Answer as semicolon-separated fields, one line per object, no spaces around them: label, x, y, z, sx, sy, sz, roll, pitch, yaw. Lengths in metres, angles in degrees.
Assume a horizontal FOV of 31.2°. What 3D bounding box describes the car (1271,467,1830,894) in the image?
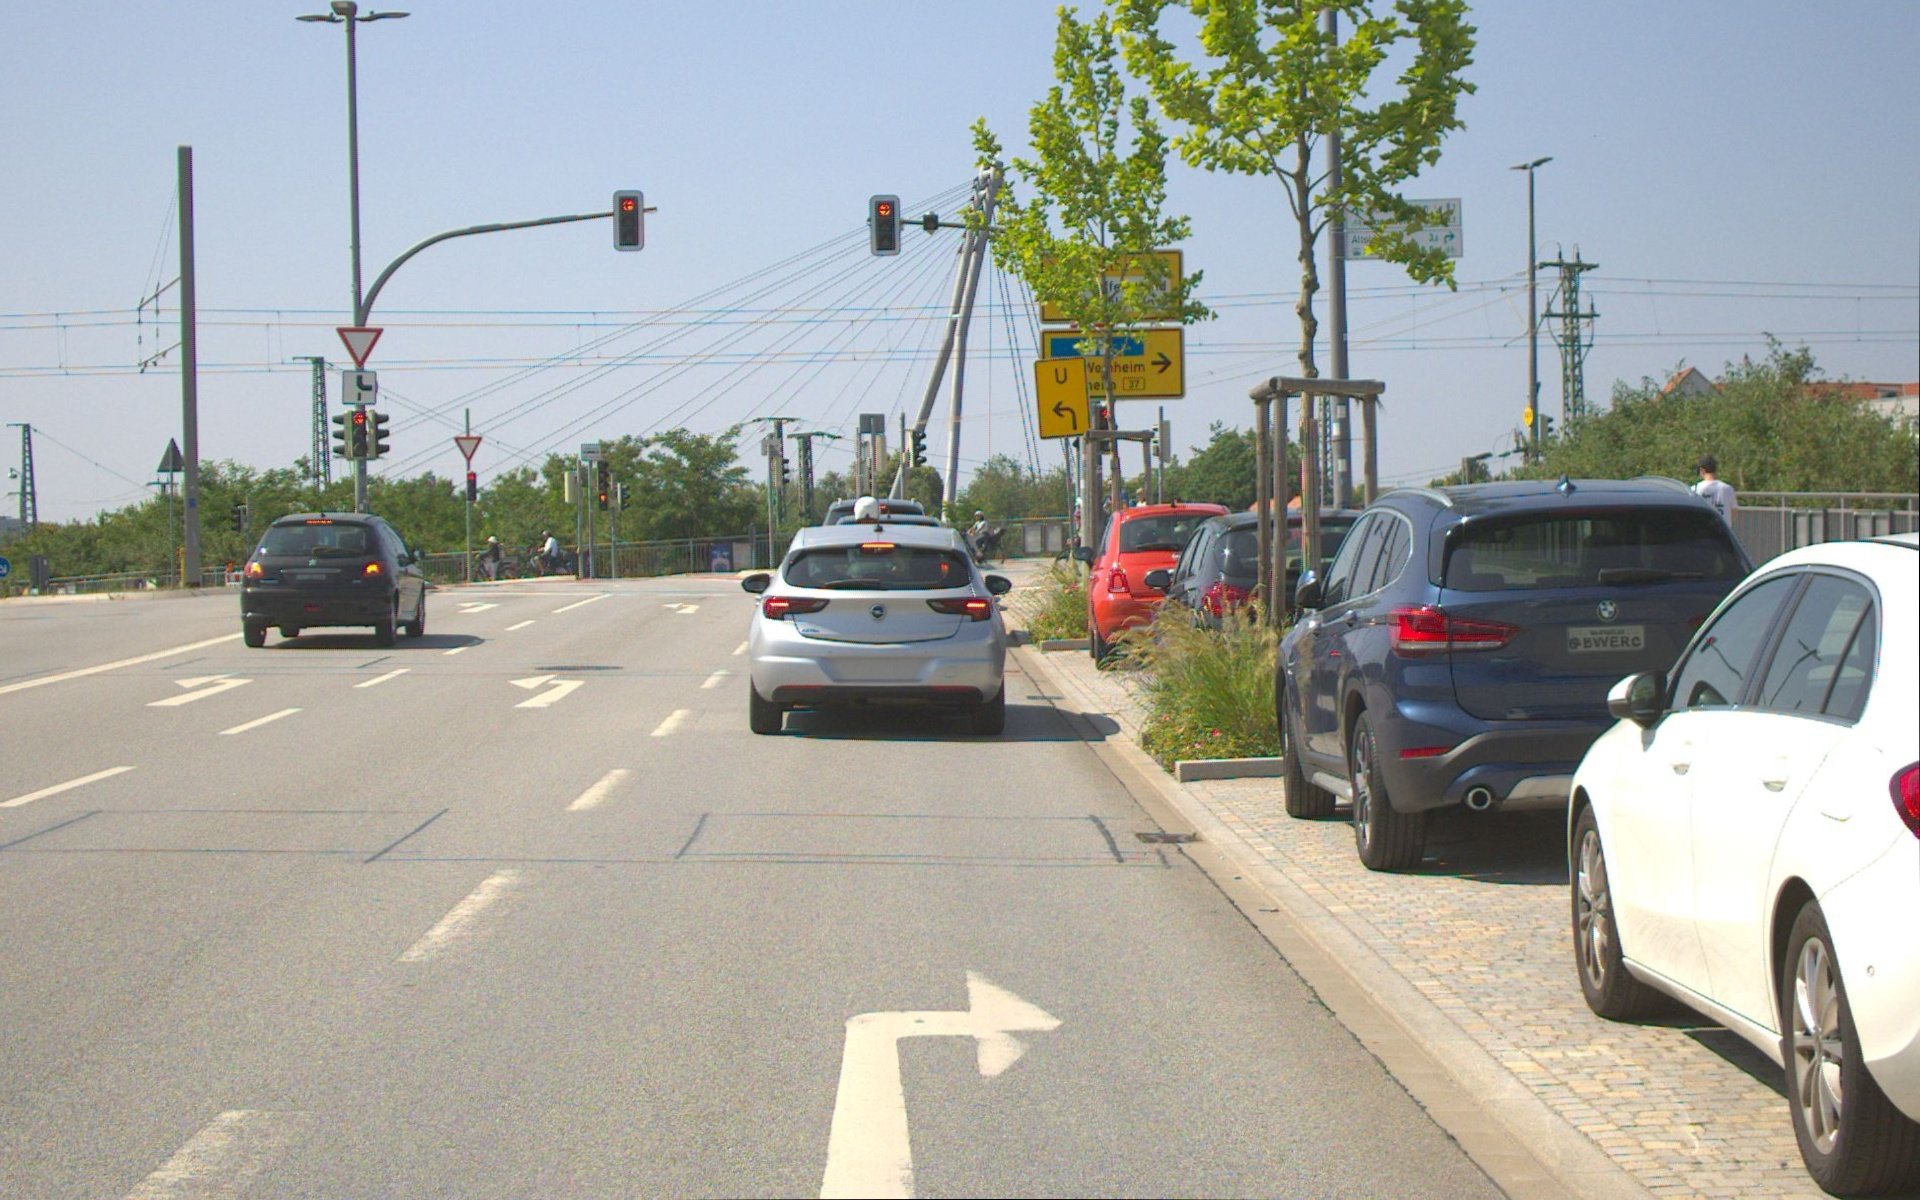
car;2.485;0.272;15.321;1.822;1.611;3.611;-2;1;0

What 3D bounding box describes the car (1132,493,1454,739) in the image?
car;2.323;0.075;24.937;1.778;1.498;4.000;-5;1;-1

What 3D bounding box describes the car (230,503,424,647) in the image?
car;-6.967;-0.319;38.131;1.619;1.411;3.728;-2;3;-3

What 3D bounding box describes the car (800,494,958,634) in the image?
car;-0.953;-0.470;41.073;1.778;1.563;4.001;-1;2;-1

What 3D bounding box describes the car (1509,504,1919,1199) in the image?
car;2.630;0.484;8.814;1.696;1.470;4.205;-2;1;0

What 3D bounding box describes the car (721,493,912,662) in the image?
car;-1.380;-0.271;34.286;1.778;1.563;4.001;-1;2;-1

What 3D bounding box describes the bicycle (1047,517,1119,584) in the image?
bicycle;2.245;-0.902;62.657;1.239;1.193;0.482;1;-1;-7

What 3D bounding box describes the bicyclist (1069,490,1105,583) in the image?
bicyclist;2.263;-1.131;61.291;0.592;1.638;0.313;1;-1;-6

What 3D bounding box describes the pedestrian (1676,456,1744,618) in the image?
pedestrian;7.350;-0.610;33.702;0.533;1.570;0.524;1;-1;-1

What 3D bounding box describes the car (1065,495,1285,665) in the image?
car;2.022;-0.213;33.274;1.778;1.498;4.000;-2;1;-1

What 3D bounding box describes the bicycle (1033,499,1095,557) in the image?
bicycle;2.209;-1.518;72.771;1.239;1.193;0.482;1;-1;-7

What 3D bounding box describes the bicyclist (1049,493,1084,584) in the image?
bicyclist;1.940;-1.120;62.642;0.592;1.638;0.313;1;-1;-6

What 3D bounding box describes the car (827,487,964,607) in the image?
car;-0.884;-0.755;47.148;1.778;1.563;4.001;-1;2;-1

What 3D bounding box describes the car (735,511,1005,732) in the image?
car;-0.631;0.092;24.888;1.778;1.437;4.001;-1;2;-1
